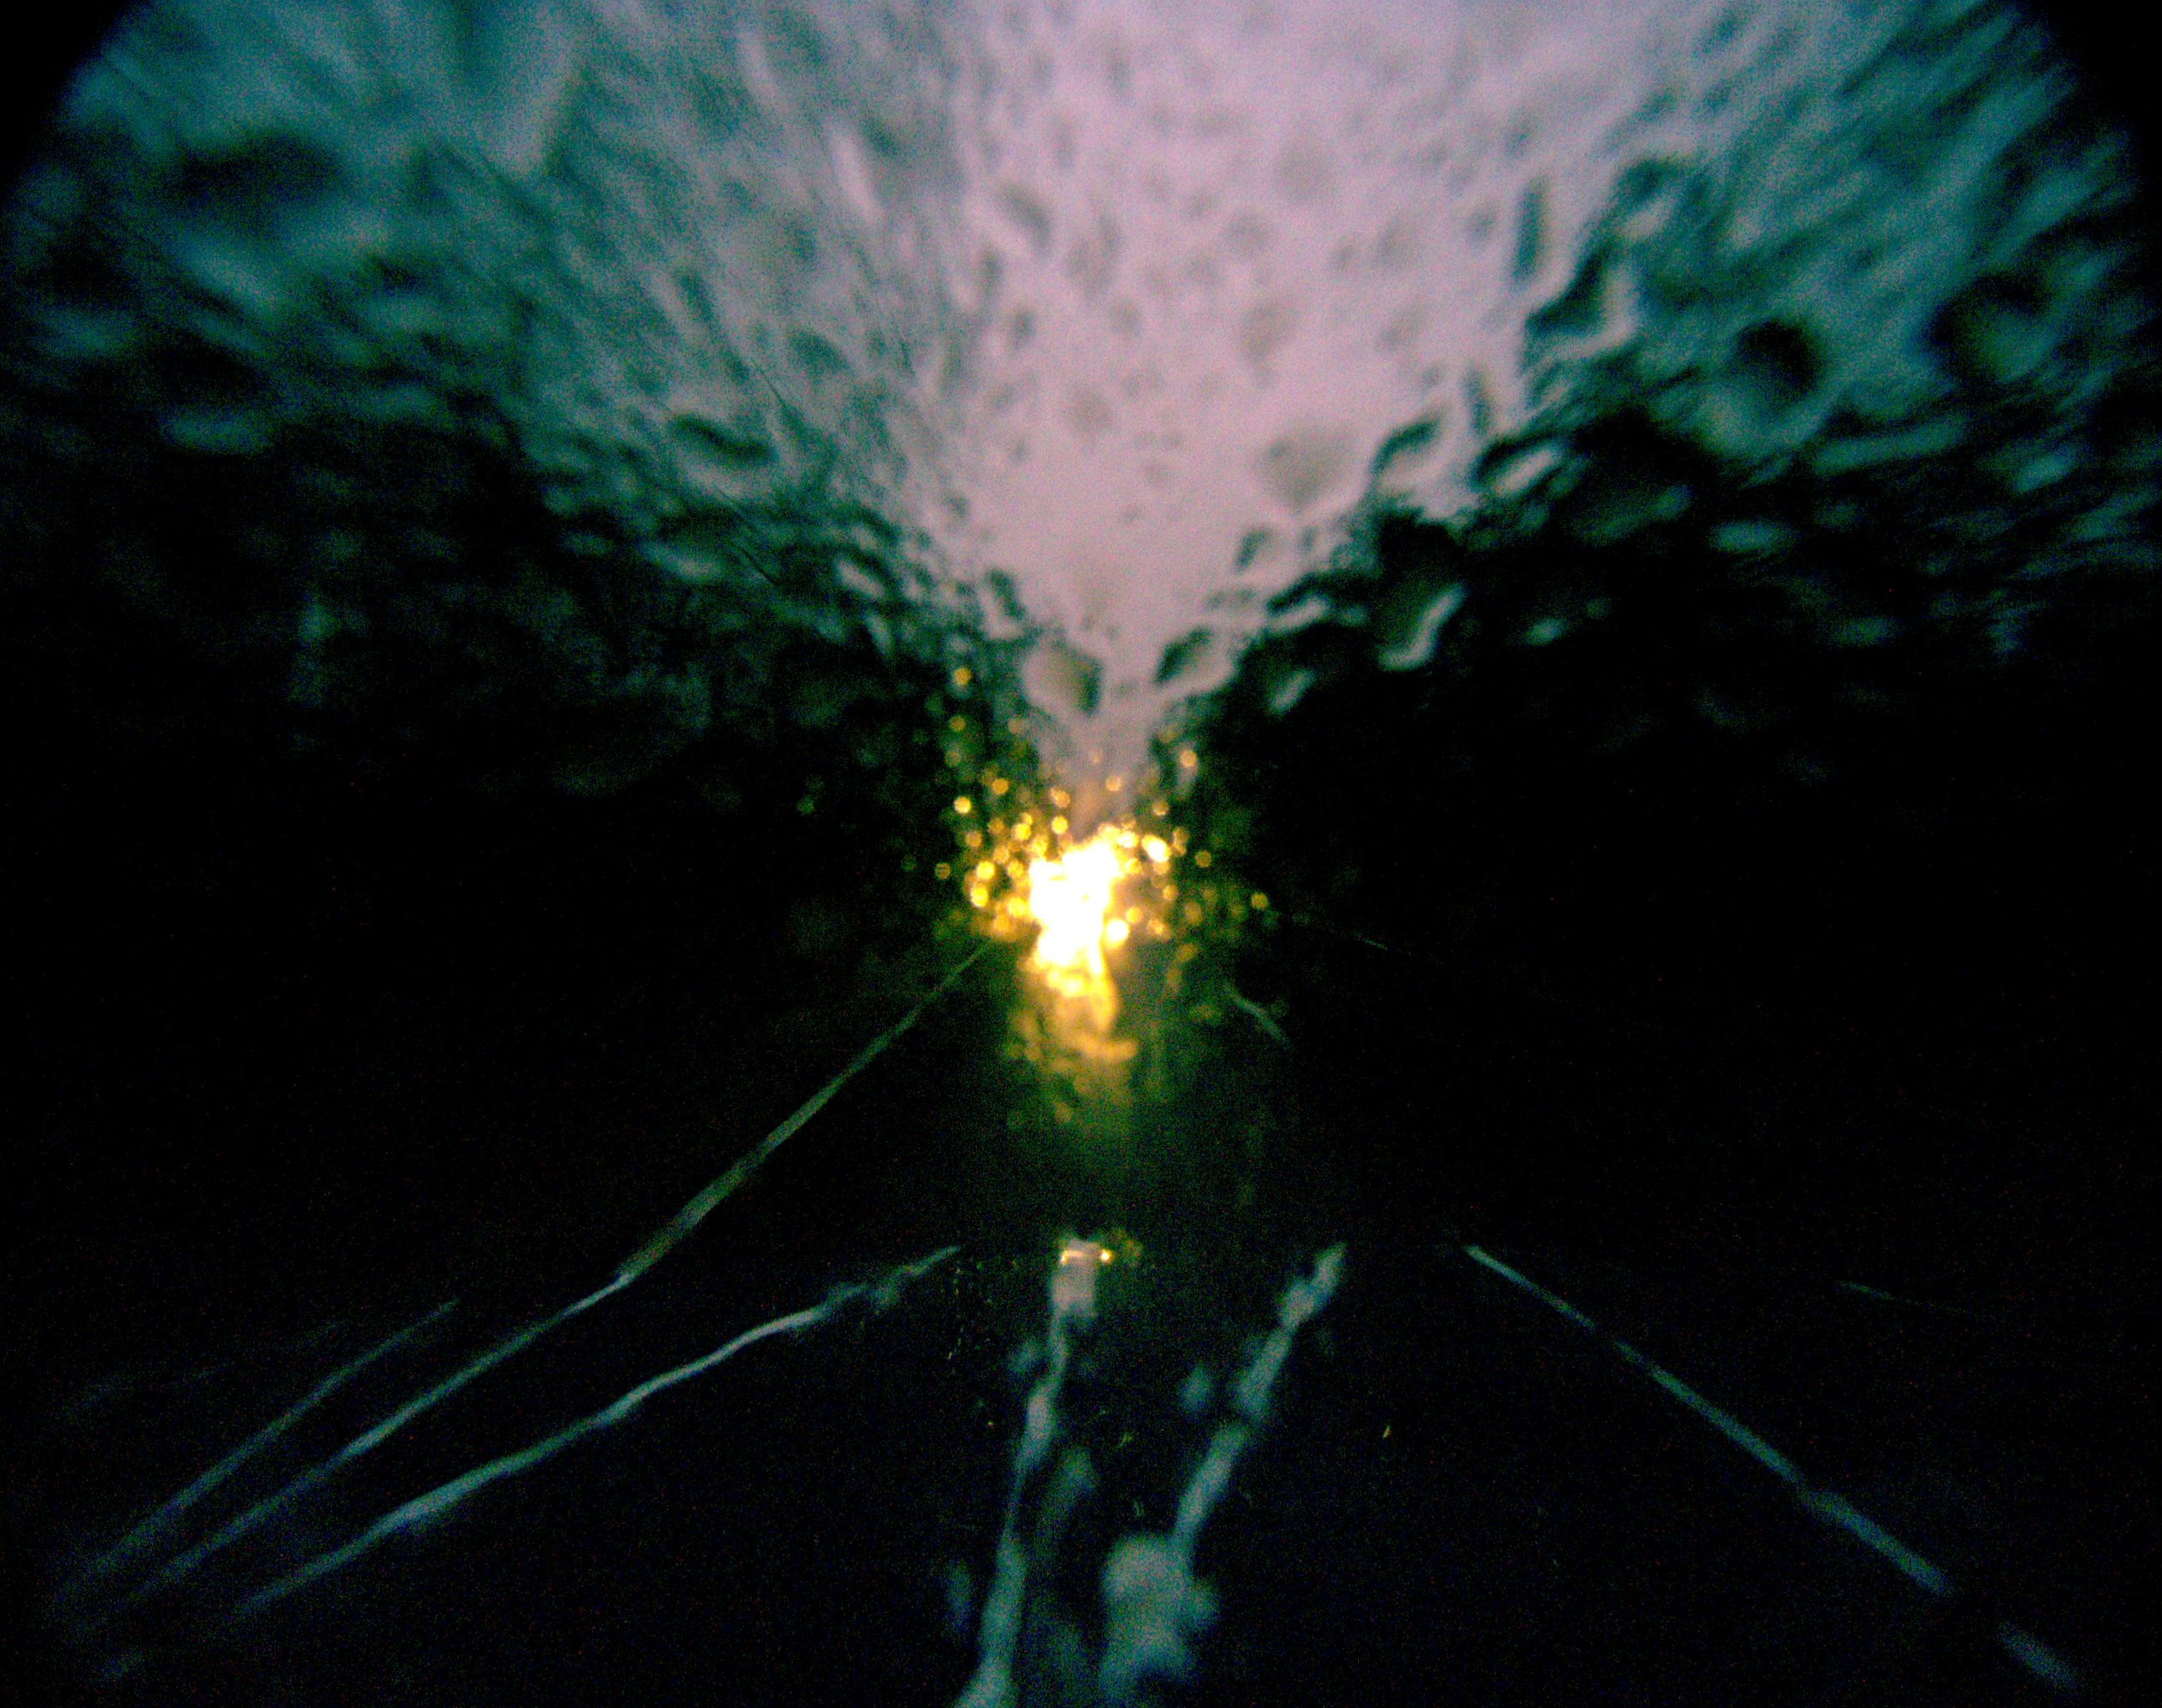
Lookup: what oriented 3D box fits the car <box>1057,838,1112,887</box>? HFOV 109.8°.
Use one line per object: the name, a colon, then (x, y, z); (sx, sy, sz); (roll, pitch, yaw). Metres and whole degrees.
car: (0.239, 0.378, 39.127); (2.542, 2.213, 6.169); (-3, 1, 1)
